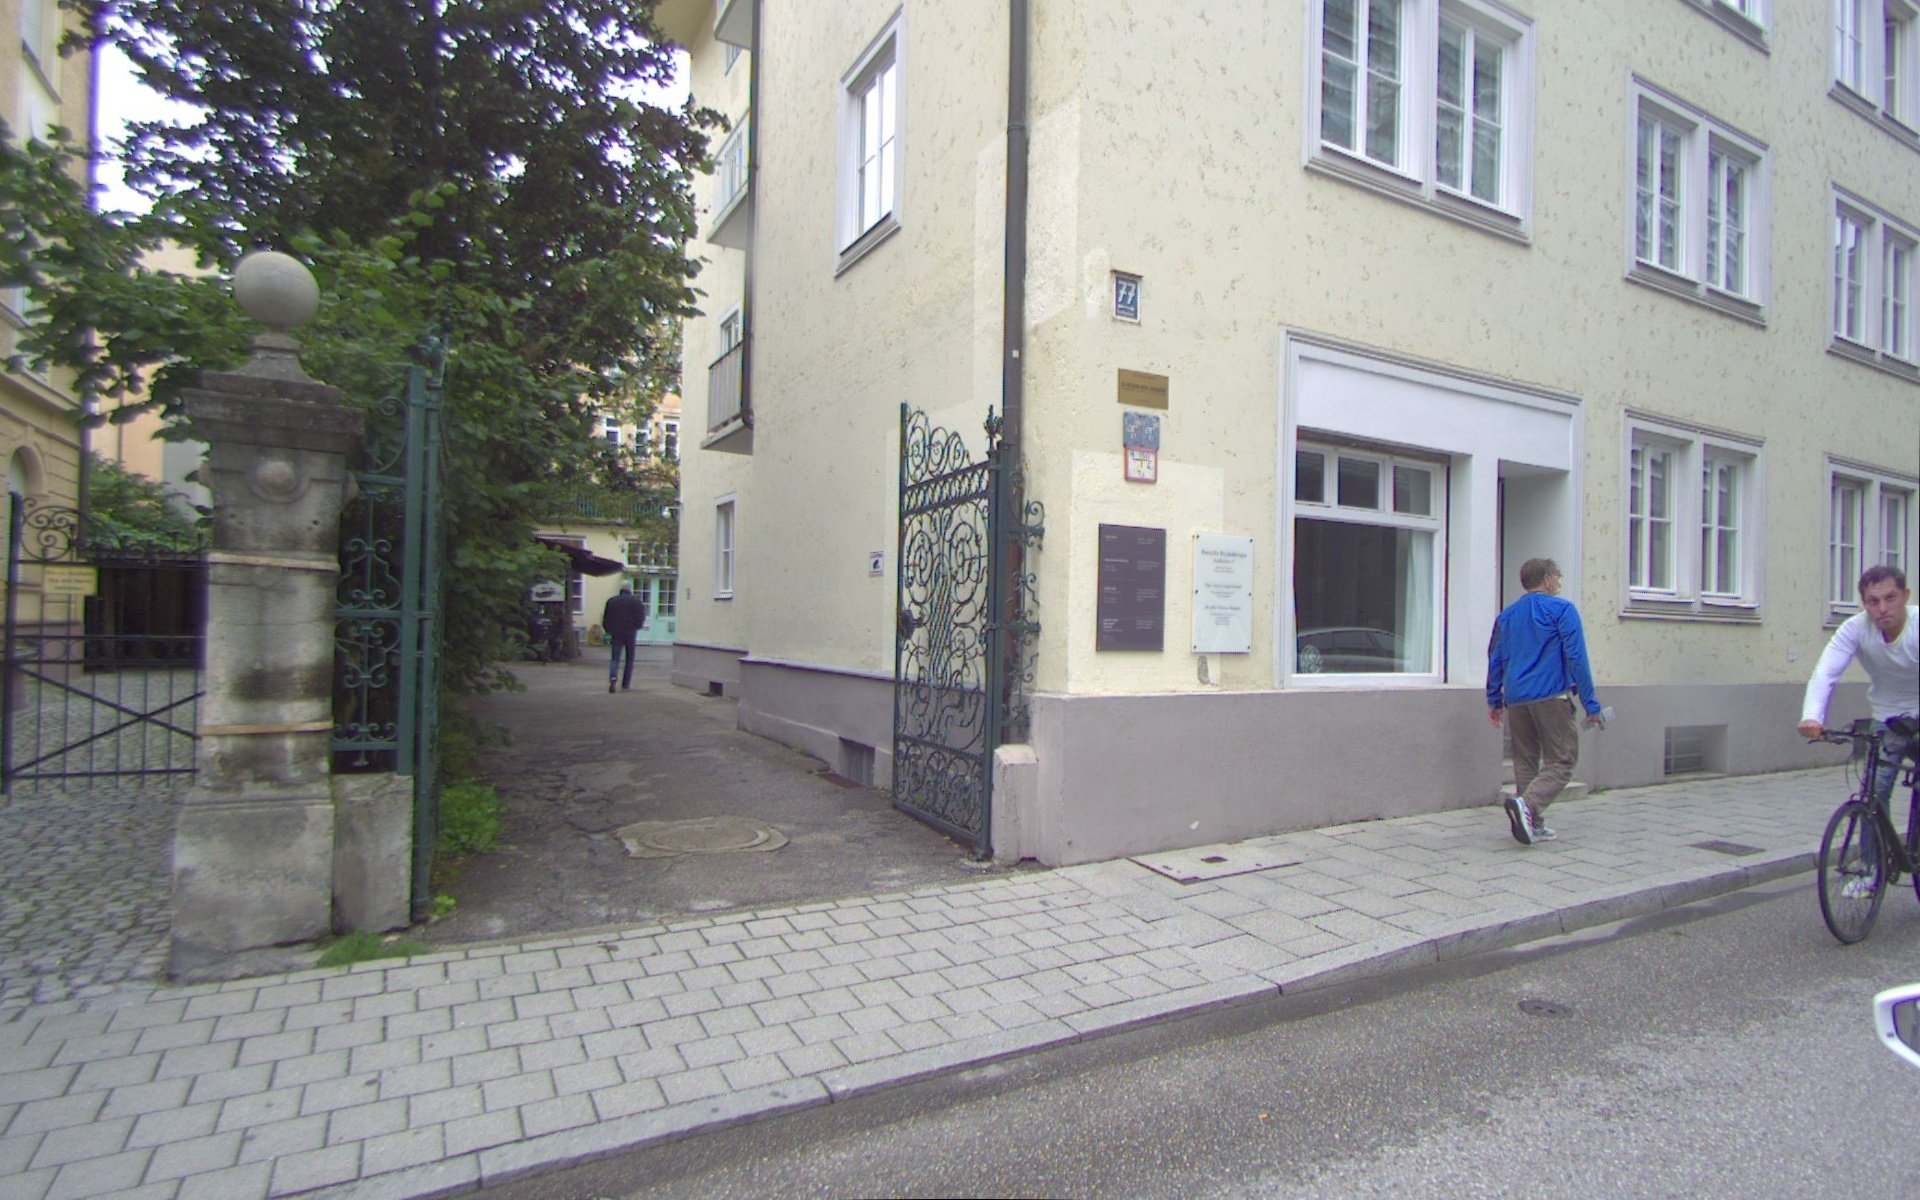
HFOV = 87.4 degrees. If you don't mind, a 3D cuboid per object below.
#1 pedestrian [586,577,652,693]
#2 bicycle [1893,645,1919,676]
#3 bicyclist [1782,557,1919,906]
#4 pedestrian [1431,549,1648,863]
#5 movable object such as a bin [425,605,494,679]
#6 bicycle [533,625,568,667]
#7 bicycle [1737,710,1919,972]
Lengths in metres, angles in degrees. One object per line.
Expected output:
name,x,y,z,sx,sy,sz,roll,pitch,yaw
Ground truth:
pedestrian,-5.608,0.572,16.563,0.893,1.851,0.953,1,-1,-14
bicycle,35.068,2.226,36.476,0.589,1.083,1.651,2,0,-25
bicyclist,4.868,0.642,5.216,0.884,1.664,0.656,2,-2,-30
pedestrian,3.792,0.646,6.588,1.064,1.879,0.753,2,0,-29
movable object such as a bin,-10.043,0.832,20.217,1.091,1.422,1.222,1,-1,-21
bicycle,-10.123,1.130,24.880,0.688,0.985,1.880,1,-1,-20
bicycle,4.908,1.152,5.236,1.981,1.052,0.658,2,-2,-30
